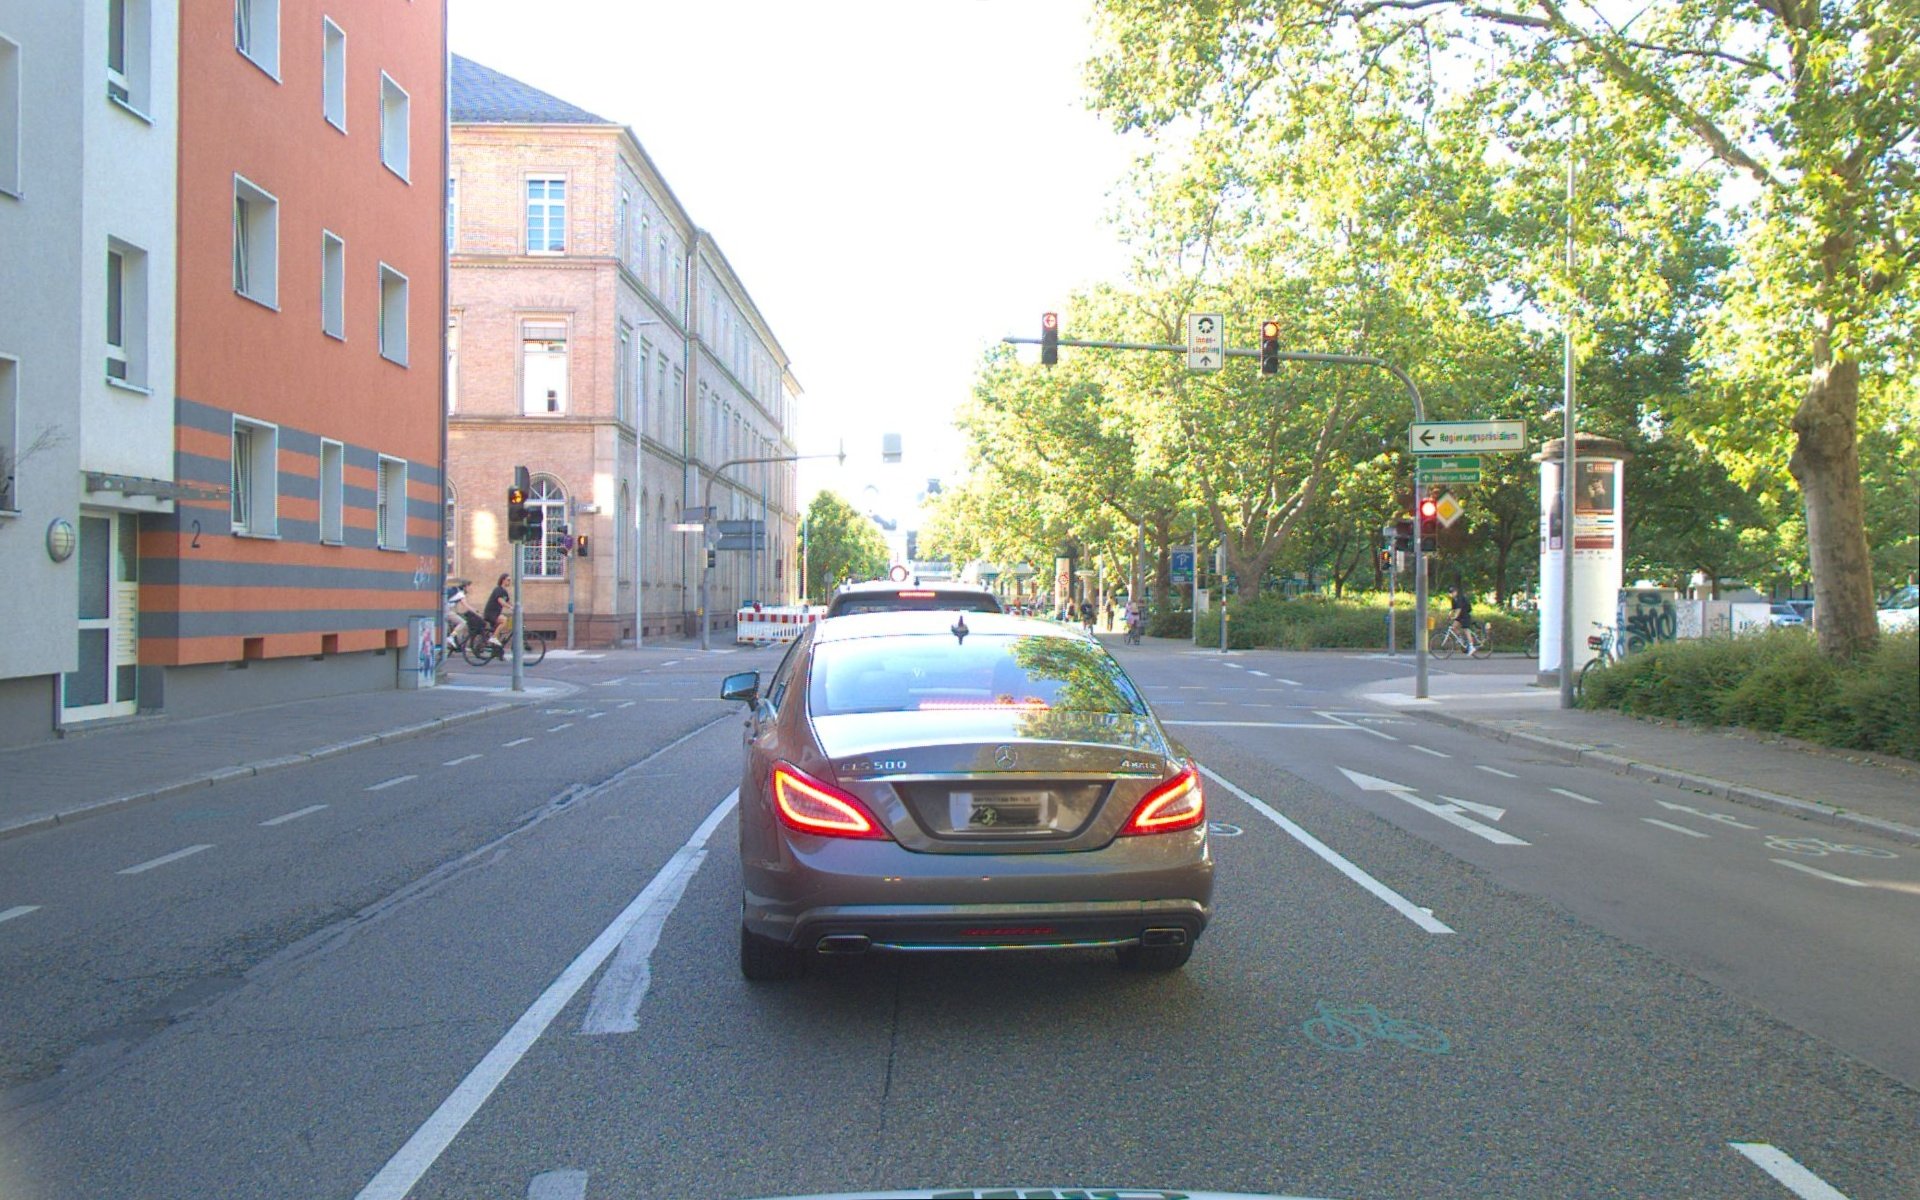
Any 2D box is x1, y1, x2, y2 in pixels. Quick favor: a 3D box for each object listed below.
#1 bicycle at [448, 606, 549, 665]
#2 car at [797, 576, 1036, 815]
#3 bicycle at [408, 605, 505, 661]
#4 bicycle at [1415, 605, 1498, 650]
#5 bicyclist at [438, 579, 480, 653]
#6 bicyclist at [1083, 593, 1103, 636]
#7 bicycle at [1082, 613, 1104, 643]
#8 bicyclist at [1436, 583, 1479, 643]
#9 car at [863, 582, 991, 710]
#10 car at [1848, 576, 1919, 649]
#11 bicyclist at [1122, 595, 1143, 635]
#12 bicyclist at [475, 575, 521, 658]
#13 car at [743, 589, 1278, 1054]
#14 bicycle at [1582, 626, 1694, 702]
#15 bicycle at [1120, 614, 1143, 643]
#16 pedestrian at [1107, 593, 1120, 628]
[{"bbox_3d":[-9.769,0.748,35.065,1.956,1.205,0.589,0,0,0],"label":"bicycle"},{"bbox_3d":[-0.367,0.664,13.388,1.647,1.653,3.839,0,0,-2],"label":"car"},{"bbox_3d":[-11.201,0.730,36.848,1.961,1.205,0.883,0,0,-11],"label":"bicycle"},{"bbox_3d":[13.391,0.742,44.655,1.961,1.205,0.883,0,0,-11],"label":"bicycle"},{"bbox_3d":[-11.163,0.357,36.863,0.785,1.620,0.883,0,0,-10],"label":"bicyclist"},{"bbox_3d":[4.862,0.522,60.545,0.598,1.542,0.889,2,0,-1],"label":"bicyclist"},{"bbox_3d":[4.861,1.024,60.630,0.598,1.044,1.731,2,0,-1],"label":"bicycle"},{"bbox_3d":[13.425,0.348,44.685,0.798,1.581,0.883,0,0,-10],"label":"bicyclist"},{"bbox_3d":[-0.493,0.594,23.254,1.647,1.653,3.839,0,0,-2],"label":"car"},{"bbox_3d":[25.332,0.326,42.562,3.912,1.815,2.001,0,0,4],"label":"car"},{"bbox_3d":[6.232,0.544,59.860,0.588,1.426,0.931,2,0,-1],"label":"bicyclist"},{"bbox_3d":[-9.793,0.344,35.069,0.780,1.738,0.589,0,0,1],"label":"bicyclist"},{"bbox_3d":[-0.093,0.721,7.639,1.787,1.502,4.346,0,0,-8],"label":"car"},{"bbox_3d":[9.699,0.914,23.676,1.387,1.055,0.538,0,0,-5],"label":"bicycle"},{"bbox_3d":[6.208,1.029,60.049,0.588,1.002,1.881,2,0,-1],"label":"bicycle"},{"bbox_3d":[7.523,0.529,81.085,0.548,1.707,0.564,0,0,-1],"label":"pedestrian"}]
